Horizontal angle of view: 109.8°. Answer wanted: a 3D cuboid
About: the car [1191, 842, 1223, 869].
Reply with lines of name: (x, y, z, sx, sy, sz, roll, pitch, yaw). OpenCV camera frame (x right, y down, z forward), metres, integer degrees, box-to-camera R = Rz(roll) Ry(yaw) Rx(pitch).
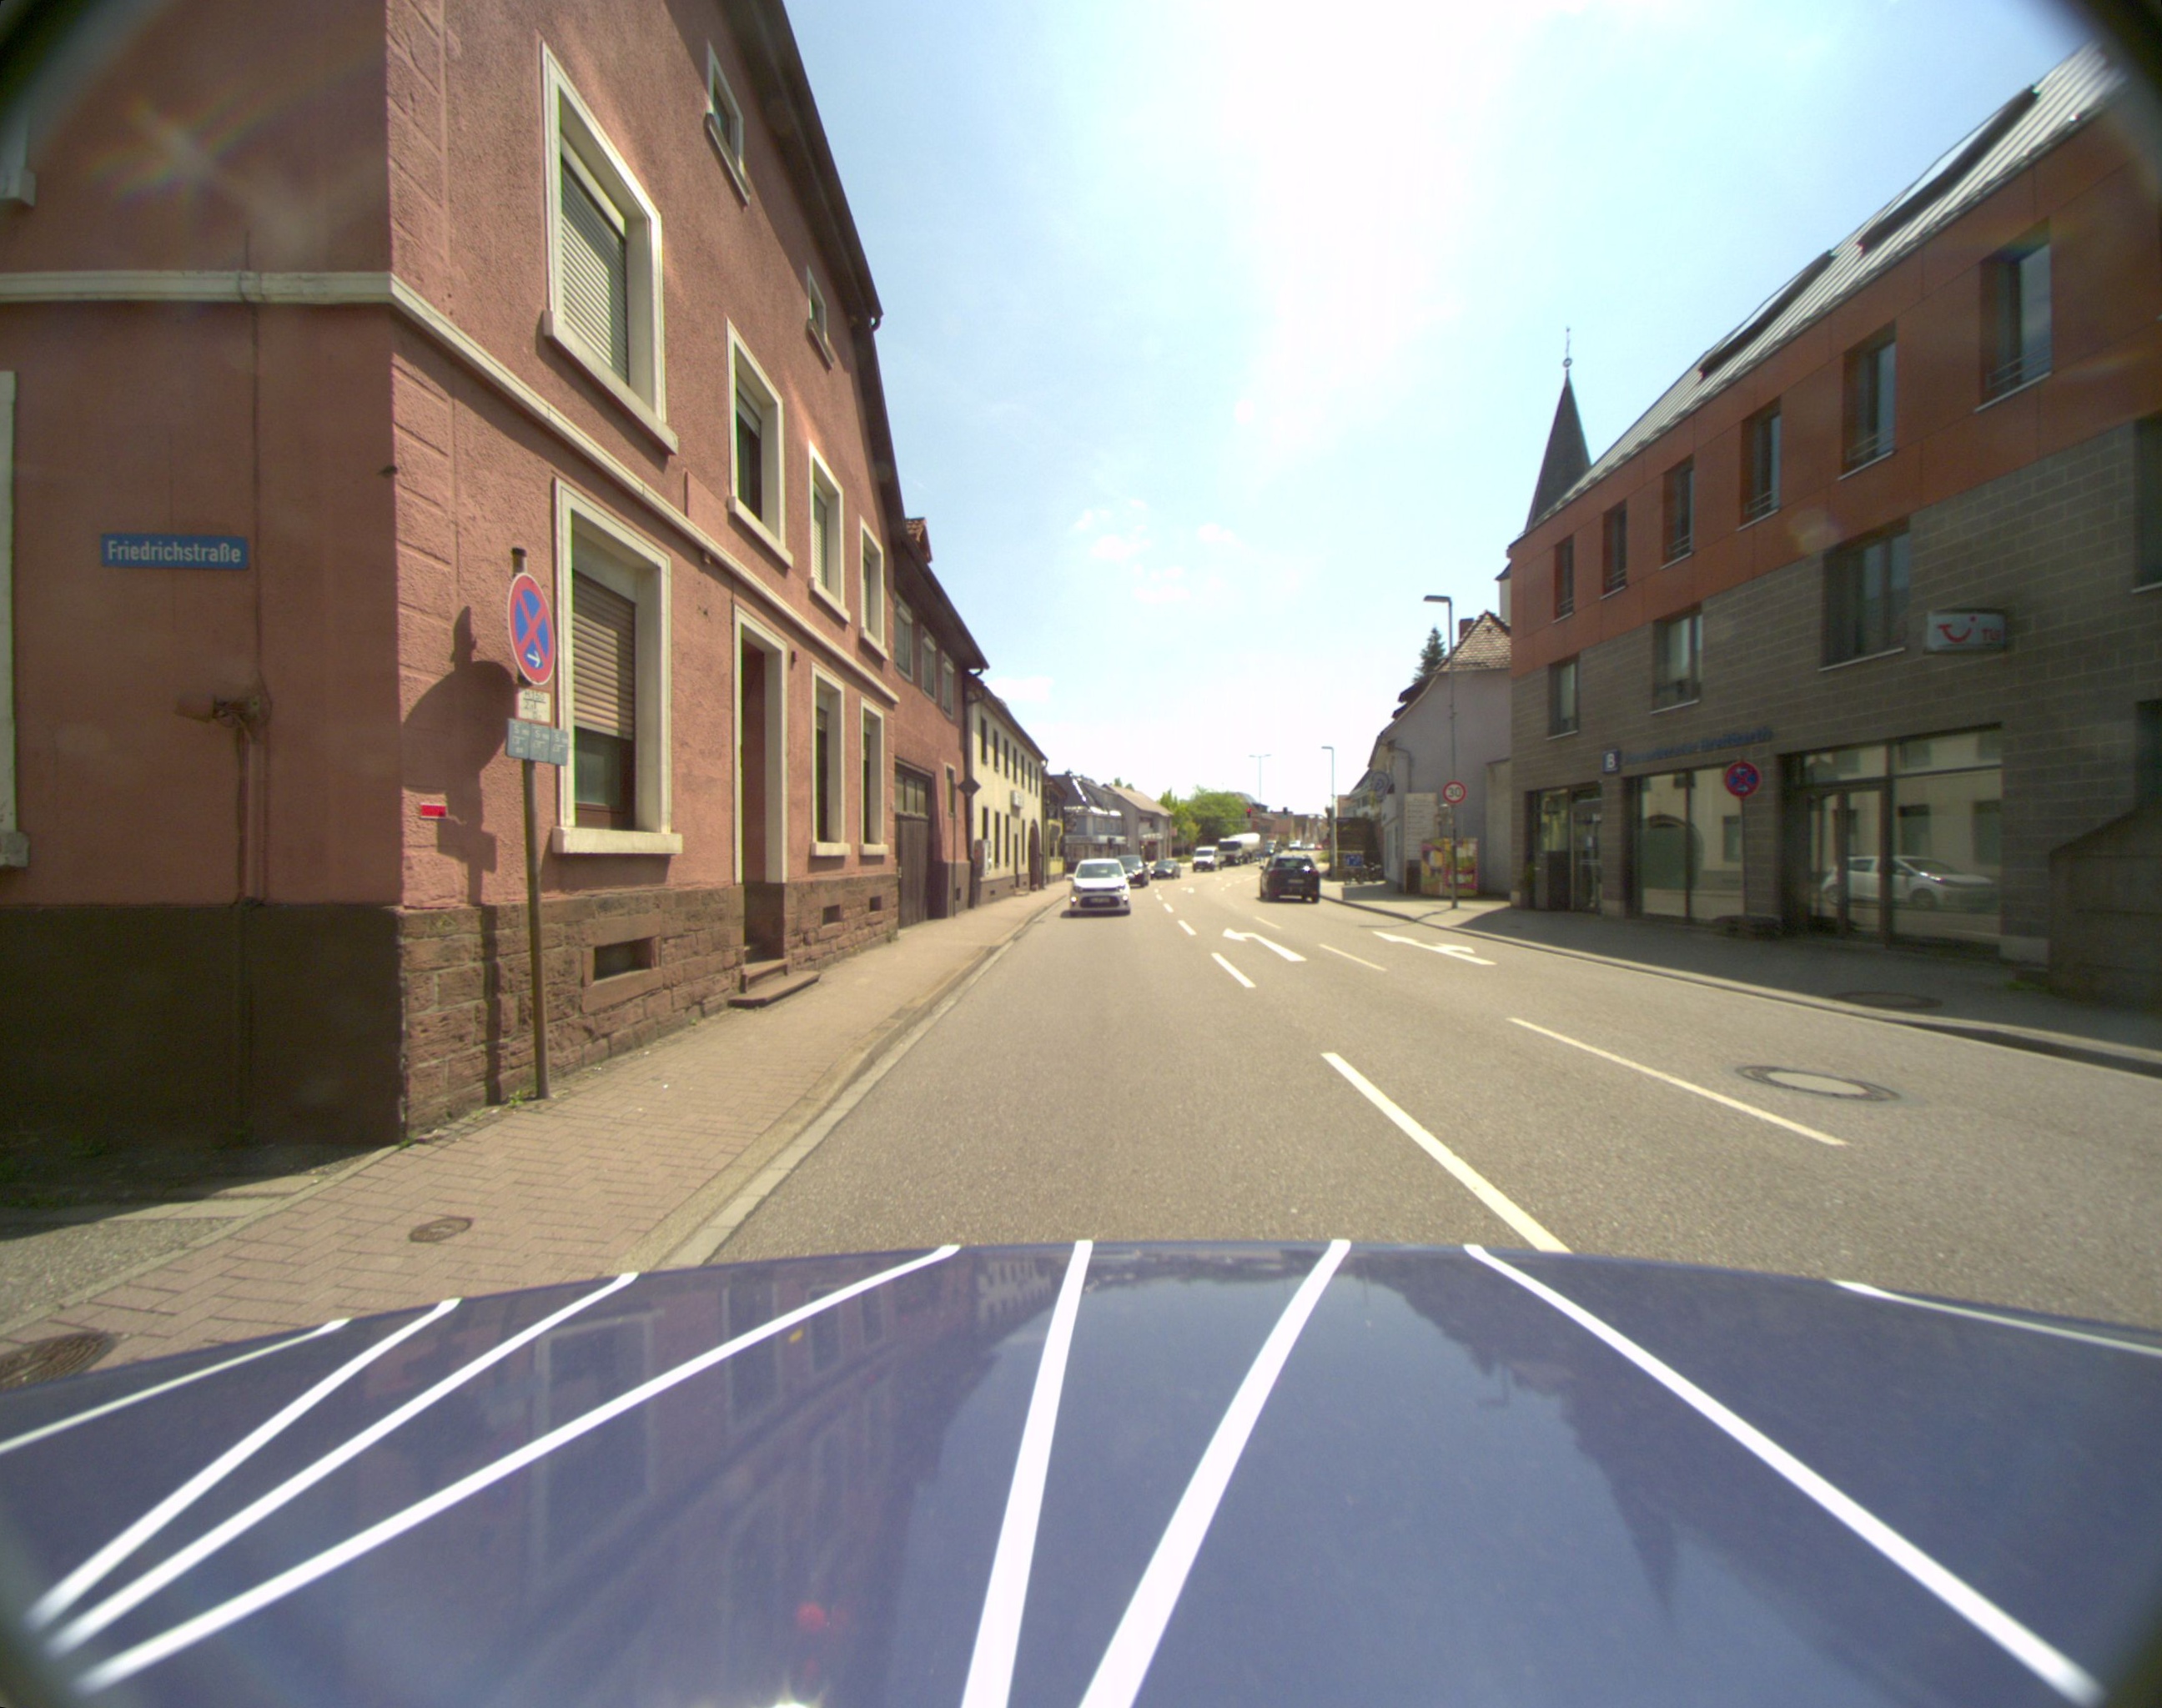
car: (12.302, 0.116, 73.815, 2.172, 2.549, 4.831, 0, 0, 20)

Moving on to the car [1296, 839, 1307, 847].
car: (45.173, -2.288, 155.489, 2.008, 1.621, 4.584, -1, 0, 19)

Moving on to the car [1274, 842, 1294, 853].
car: (30.861, -0.941, 115.225, 2.008, 1.621, 4.586, 0, 0, 27)

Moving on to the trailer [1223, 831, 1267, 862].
trailer: (20.064, -0.931, 92.376, 2.833, 3.549, 10.984, 0, 0, 25)

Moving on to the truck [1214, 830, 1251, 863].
truck: (17.284, -0.834, 86.322, 2.843, 3.549, 5.477, 0, 0, 25)

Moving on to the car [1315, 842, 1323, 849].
car: (62.173, -2.132, 198.694, 1.763, 1.775, 4.006, -2, 0, 21)

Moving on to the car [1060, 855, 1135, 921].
car: (0.556, 0.849, 20.928, 1.724, 1.541, 4.304, -2, 0, 5)

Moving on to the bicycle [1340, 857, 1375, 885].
bicycle: (13.632, 0.836, 37.486, 1.834, 1.241, 0.577, -3, -1, -34)

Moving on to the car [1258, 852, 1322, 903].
car: (7.288, 0.748, 26.807, 1.673, 1.648, 4.020, 0, 0, 8)

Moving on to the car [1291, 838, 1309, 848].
car: (39.153, -1.937, 135.598, 2.007, 1.621, 4.586, 0, 0, 30)

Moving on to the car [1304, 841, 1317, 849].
car: (52.529, -2.068, 173.686, 2.008, 1.621, 4.586, 0, 0, 27)

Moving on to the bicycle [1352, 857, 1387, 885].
bicycle: (14.052, 0.824, 36.988, 1.834, 1.241, 0.577, -3, -1, -34)

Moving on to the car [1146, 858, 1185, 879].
car: (6.252, 1.012, 55.690, 1.926, 1.358, 4.308, -2, 0, 18)

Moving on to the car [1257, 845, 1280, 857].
car: (25.996, -0.471, 105.373, 2.008, 1.621, 4.586, 0, 0, 27)

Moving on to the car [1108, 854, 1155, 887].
car: (2.666, 0.819, 39.169, 1.723, 1.541, 4.307, -2, 0, 13)
